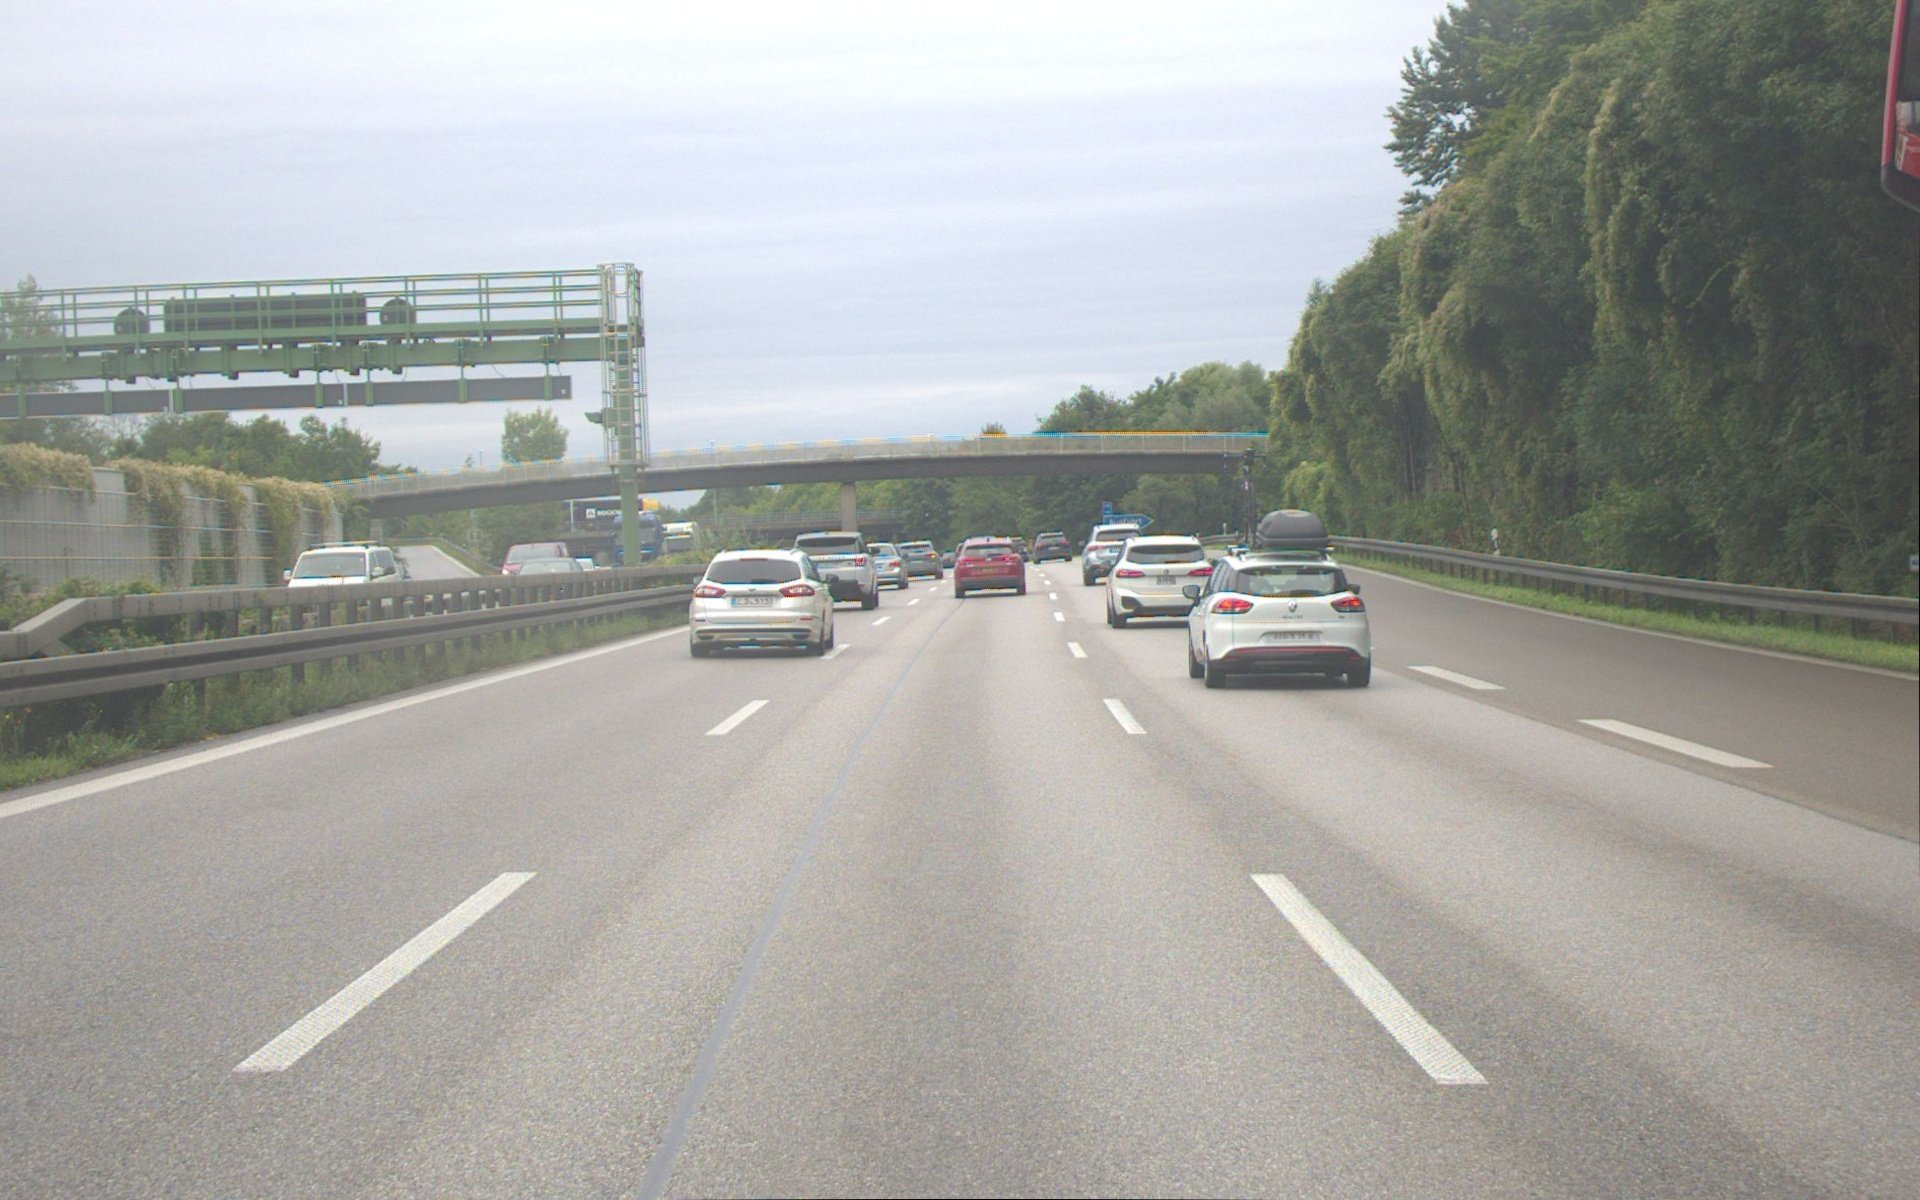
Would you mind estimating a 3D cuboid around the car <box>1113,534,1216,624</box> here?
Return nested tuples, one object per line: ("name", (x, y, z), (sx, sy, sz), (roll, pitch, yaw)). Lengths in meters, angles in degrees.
("car", (3.493, -0.341, 59.234), (1.689, 1.501, 3.871), (0, 0, 2))

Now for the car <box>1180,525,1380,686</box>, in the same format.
("car", (3.406, 0.051, 37.390), (1.816, 1.620, 5.030), (1, 0, 1))

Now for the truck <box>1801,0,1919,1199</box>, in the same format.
("truck", (3.561, -0.505, 5.624), (2.695, 3.899, 6.557), (0, 1, -1))

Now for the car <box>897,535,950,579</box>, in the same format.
("car", (-1.356, -1.620, 128.416), (1.689, 1.501, 3.871), (4, 1, 2))

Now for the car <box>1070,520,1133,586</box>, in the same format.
("car", (3.887, -1.283, 94.462), (1.689, 1.773, 3.871), (0, 1, 2))

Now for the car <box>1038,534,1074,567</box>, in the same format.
("car", (4.590, -2.355, 163.545), (1.689, 1.534, 3.871), (0, 1, 2))

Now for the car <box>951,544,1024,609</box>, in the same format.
("car", (0.676, -0.617, 86.946), (1.689, 1.501, 3.871), (4, 1, 0))

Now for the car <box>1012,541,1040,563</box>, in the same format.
("car", (4.127, -3.015, 216.046), (1.689, 1.417, 4.072), (0, 1, 0))

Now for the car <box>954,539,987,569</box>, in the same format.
("car", (0.600, -2.574, 194.772), (1.689, 1.634, 3.871), (-1, 0, 2))

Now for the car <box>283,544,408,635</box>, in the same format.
("car", (-13.892, -0.231, 77.963), (1.993, 2.007, 4.909), (0, 0, 0))

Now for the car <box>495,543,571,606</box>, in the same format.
("car", (-13.802, -0.811, 111.357), (1.993, 2.007, 4.000), (0, 0, 0))

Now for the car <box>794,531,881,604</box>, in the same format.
("car", (-2.762, -0.741, 78.014), (1.689, 1.501, 3.871), (4, 1, 1))

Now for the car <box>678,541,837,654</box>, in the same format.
("car", (-2.788, -0.043, 48.371), (1.892, 1.499, 5.030), (0, 0, 1))

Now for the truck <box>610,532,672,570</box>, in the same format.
("truck", (-16.856, -2.618, 181.832), (2.585, 1.803, 5.971), (4, 1, 0))

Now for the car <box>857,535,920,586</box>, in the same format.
("car", (-2.192, -1.220, 106.773), (1.689, 1.501, 3.871), (-2, 1, 2))
